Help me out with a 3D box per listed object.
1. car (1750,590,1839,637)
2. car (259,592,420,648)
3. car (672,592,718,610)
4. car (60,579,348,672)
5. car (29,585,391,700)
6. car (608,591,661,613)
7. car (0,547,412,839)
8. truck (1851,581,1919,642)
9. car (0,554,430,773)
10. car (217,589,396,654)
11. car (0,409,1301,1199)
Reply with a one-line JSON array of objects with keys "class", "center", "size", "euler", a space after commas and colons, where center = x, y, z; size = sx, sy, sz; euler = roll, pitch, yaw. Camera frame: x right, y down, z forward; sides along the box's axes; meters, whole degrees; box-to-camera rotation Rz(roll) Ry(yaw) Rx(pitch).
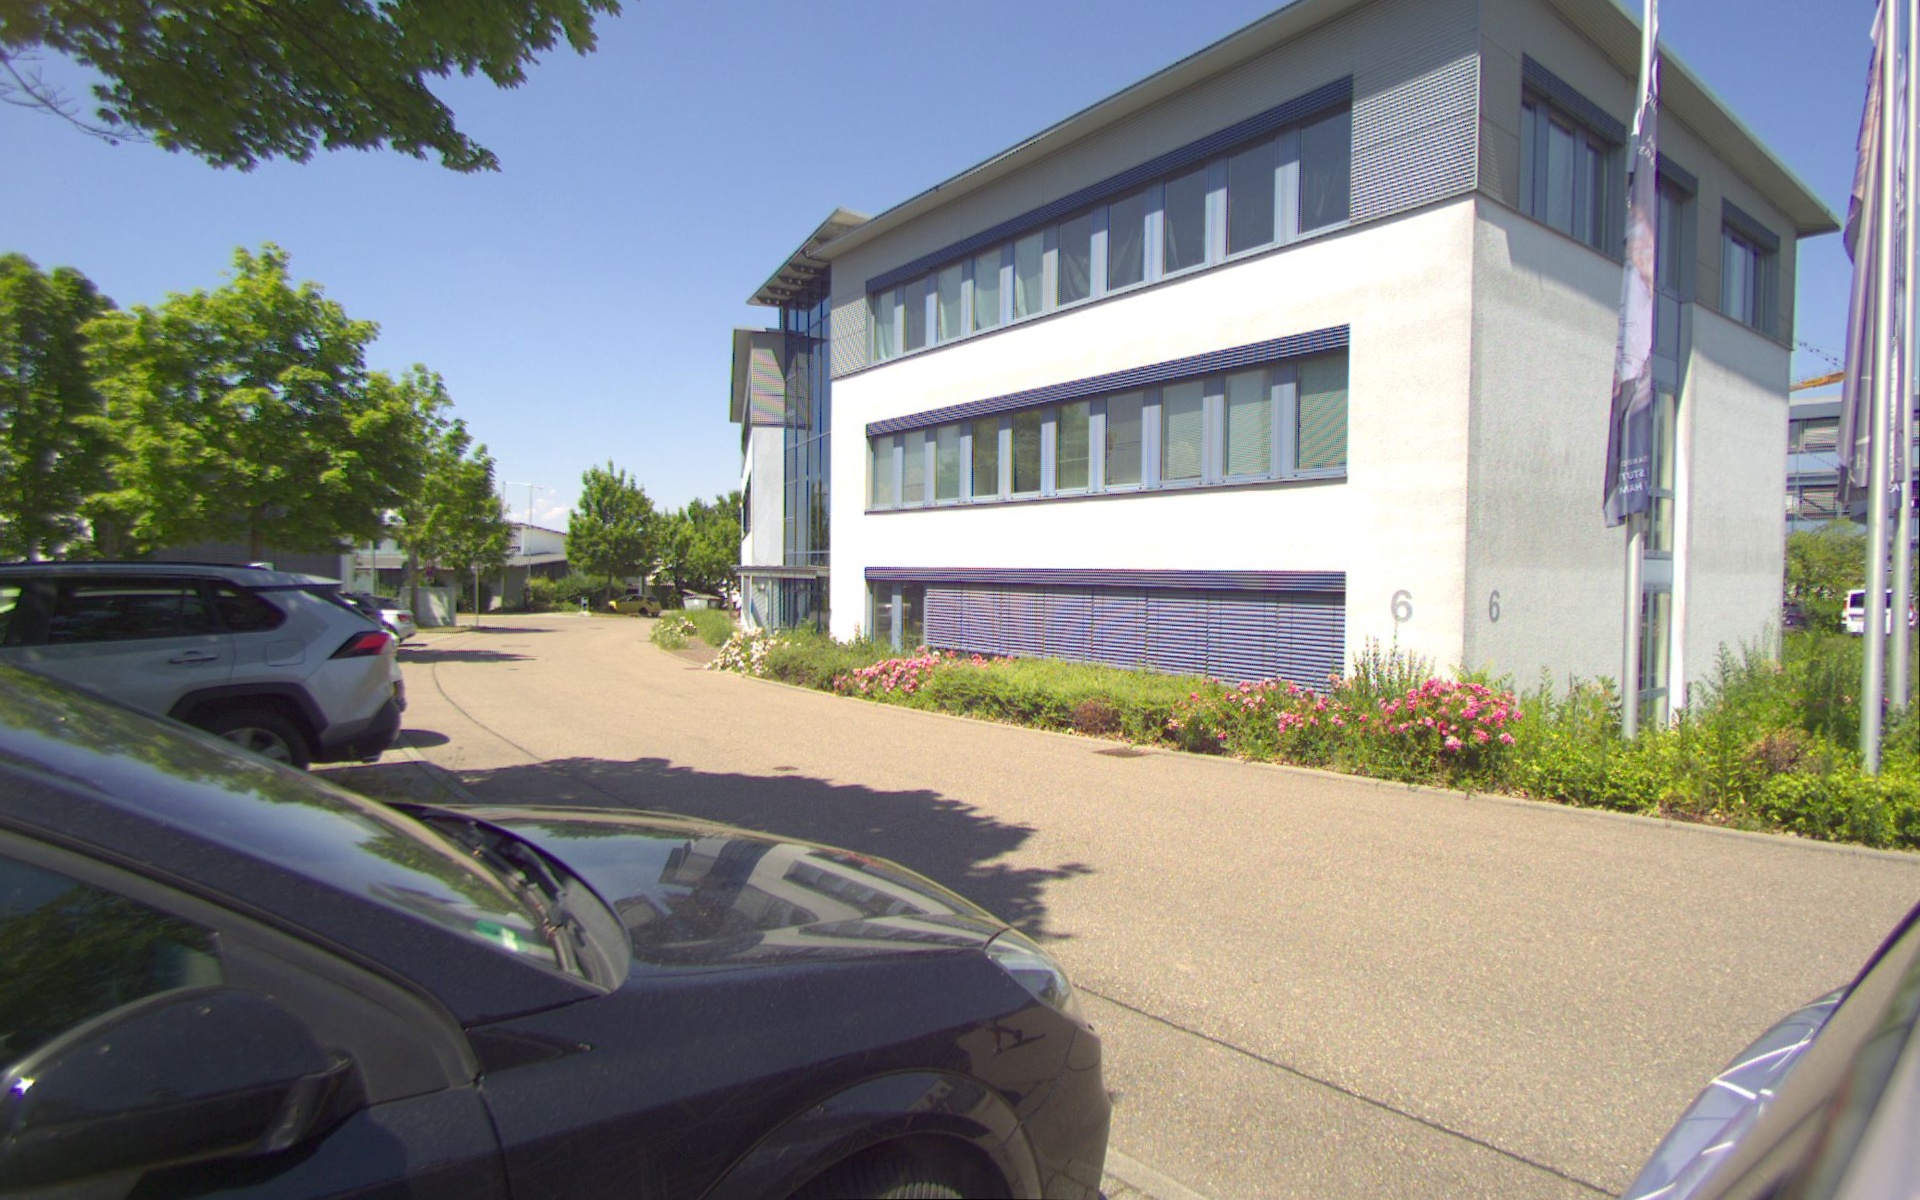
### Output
[{"class": "car", "center": [29.873, 0.451, 36.180], "size": [3.929, 1.565, 1.786], "euler": [-1, 1, -40]}, {"class": "car", "center": [-17.015, 0.549, 27.943], "size": [3.514, 1.461, 1.639], "euler": [1, -1, -21]}, {"class": "car", "center": [-21.109, 0.071, 80.647], "size": [3.167, 1.460, 1.583], "euler": [0, 0, 14]}, {"class": "car", "center": [-14.169, 0.484, 19.276], "size": [4.091, 1.625, 1.663], "euler": [1, -1, -25]}, {"class": "car", "center": [-10.831, 0.587, 15.023], "size": [4.095, 1.505, 1.662], "euler": [1, -1, -31]}, {"class": "car", "center": [-22.257, 0.138, 69.216], "size": [3.167, 1.460, 1.583], "euler": [0, 0, 14]}, {"class": "car", "center": [-6.069, 0.524, 6.463], "size": [4.253, 1.664, 1.855], "euler": [1, -1, -39]}, {"class": "truck", "center": [31.177, 0.347, 33.557], "size": [3.931, 1.917, 1.996], "euler": [0, 0, -42]}, {"class": "car", "center": [-7.137, 0.491, 8.903], "size": [4.126, 1.664, 1.659], "euler": [1, -1, -39]}, {"class": "car", "center": [-16.418, 0.541, 25.627], "size": [3.514, 1.545, 1.639], "euler": [1, -1, -21]}, {"class": "car", "center": [-1.582, 0.632, 1.230], "size": [4.485, 1.569, 1.761], "euler": [0, 0, -41]}]
